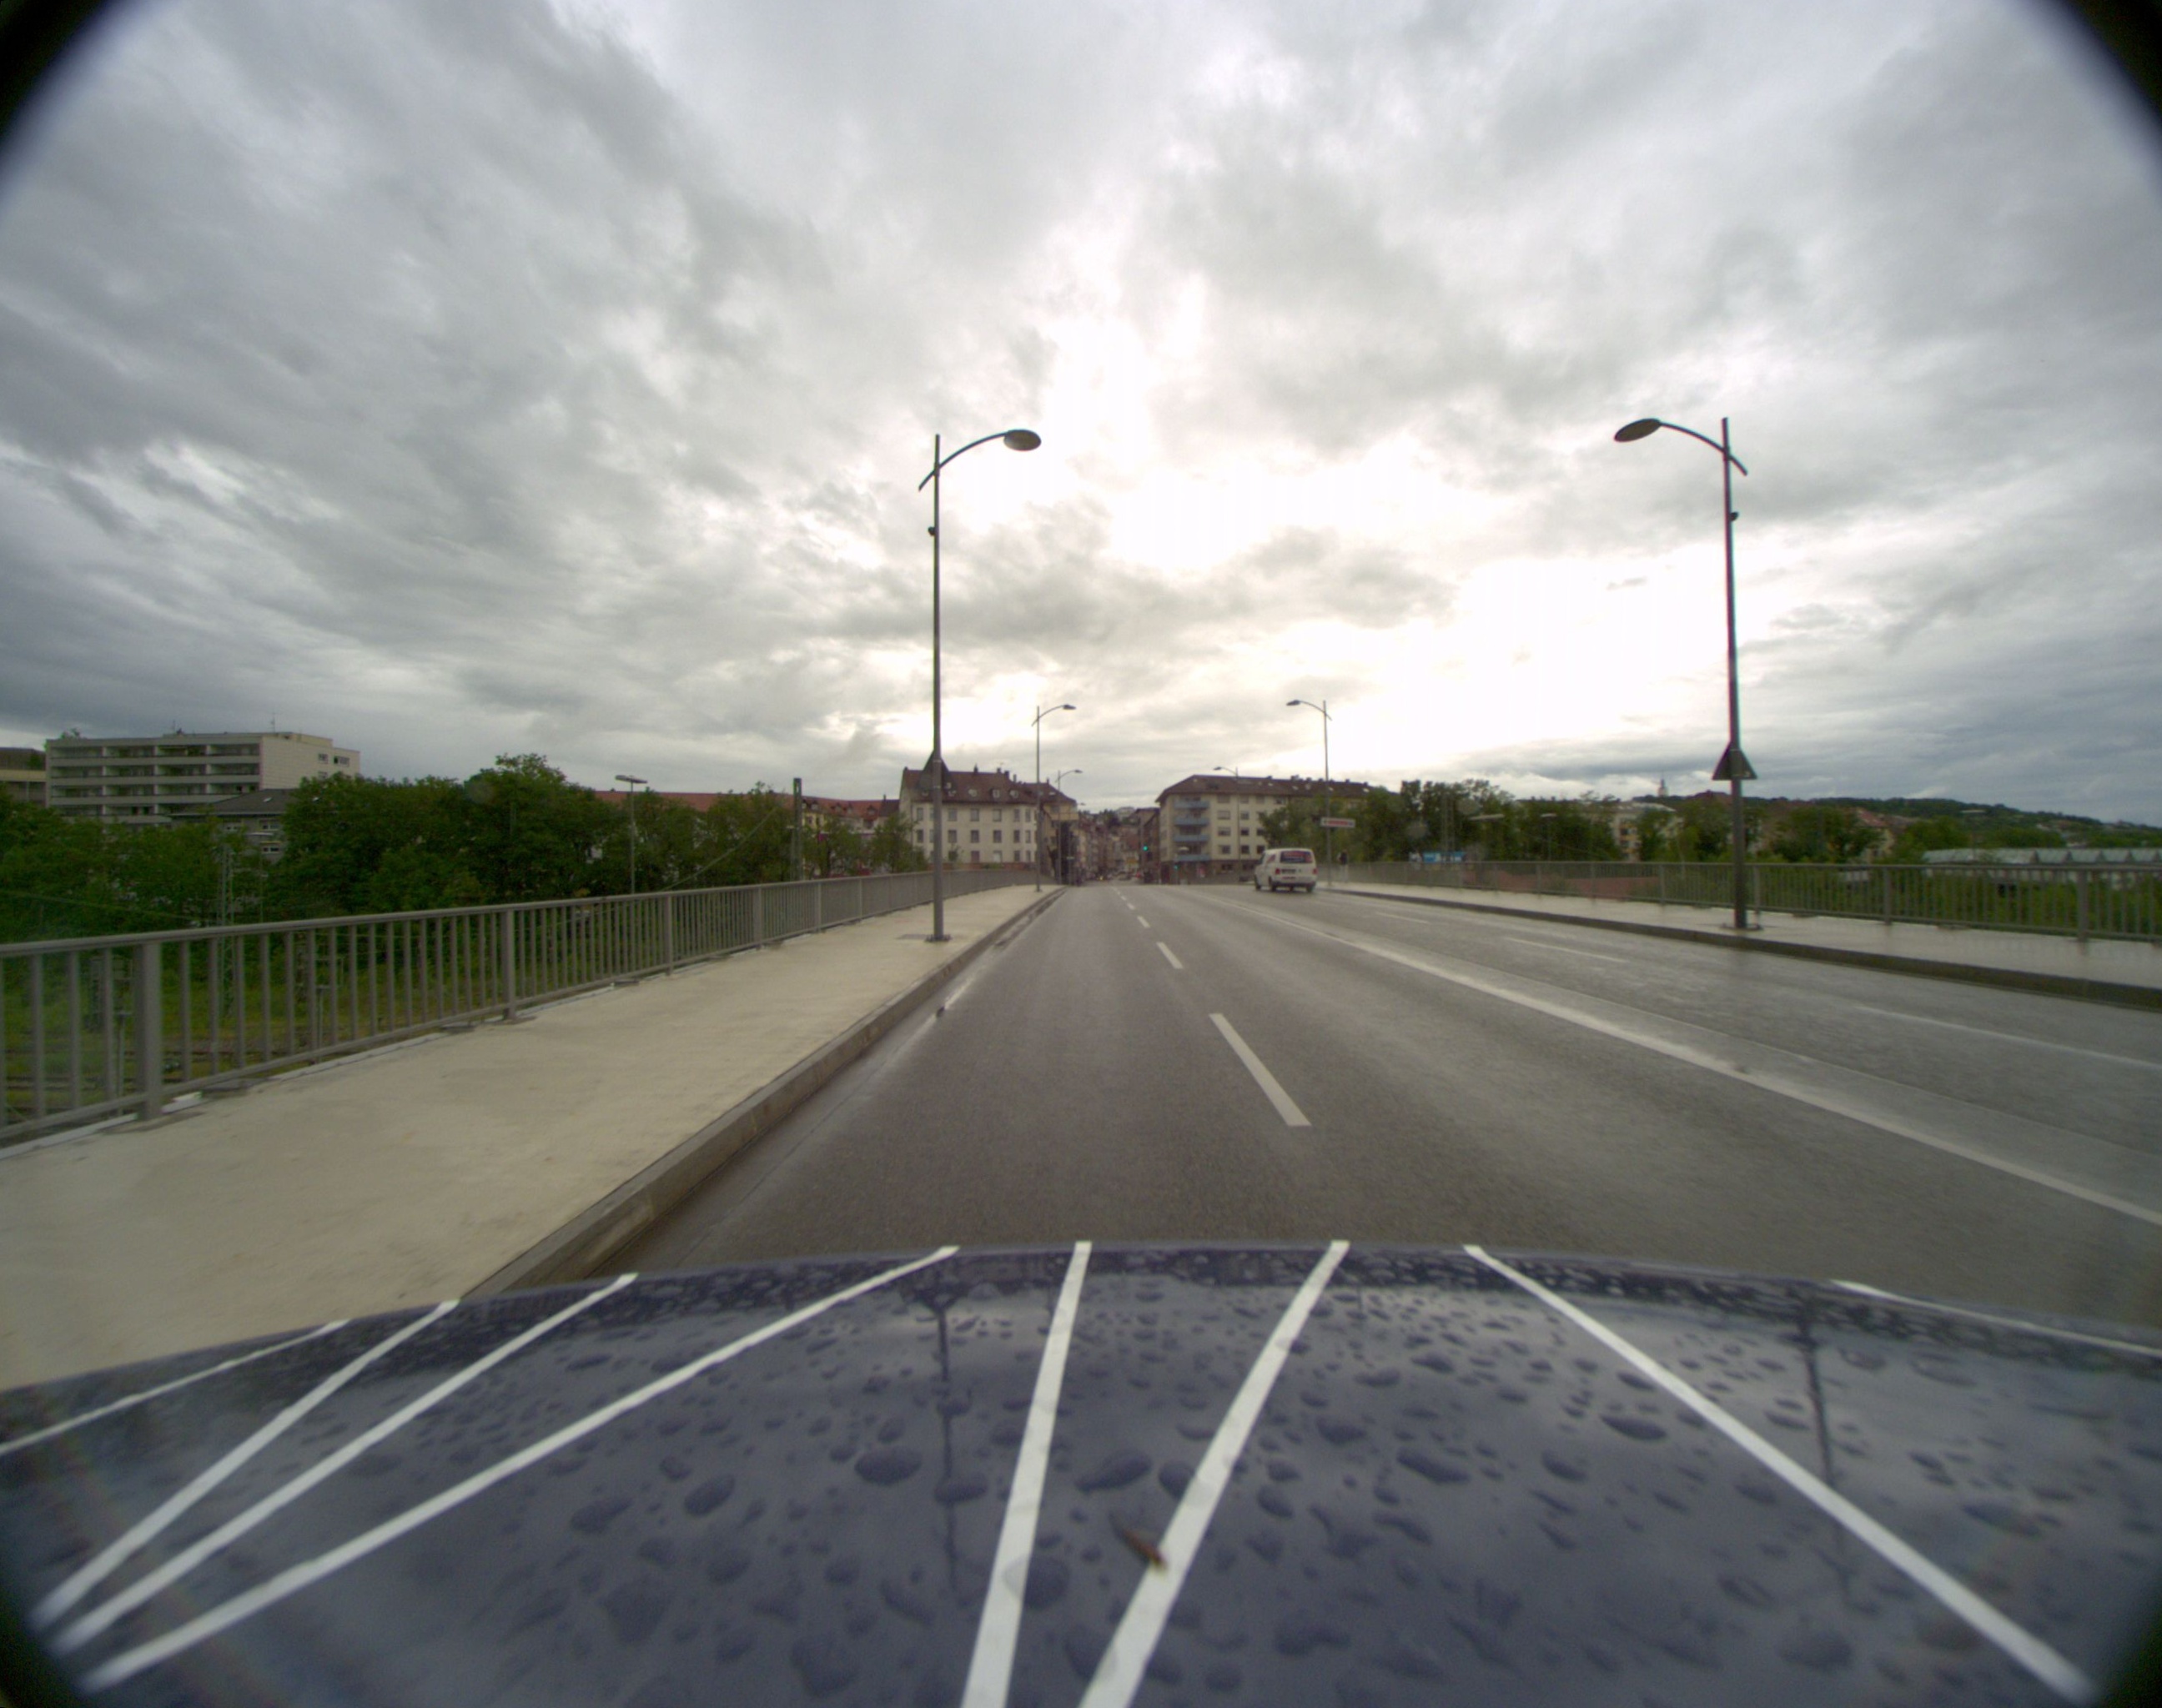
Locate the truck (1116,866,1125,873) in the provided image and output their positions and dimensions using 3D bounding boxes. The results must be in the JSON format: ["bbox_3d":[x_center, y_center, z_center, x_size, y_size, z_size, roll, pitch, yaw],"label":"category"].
[{"bbox_3d":[11.771,4.549,224.780,2.475,2.001,4.821,-2,-1,1],"label":"truck"}]

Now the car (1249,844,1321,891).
[{"bbox_3d":[9.335,0.556,35.222,1.891,1.811,4.958,-7,1,1],"label":"car"}]
